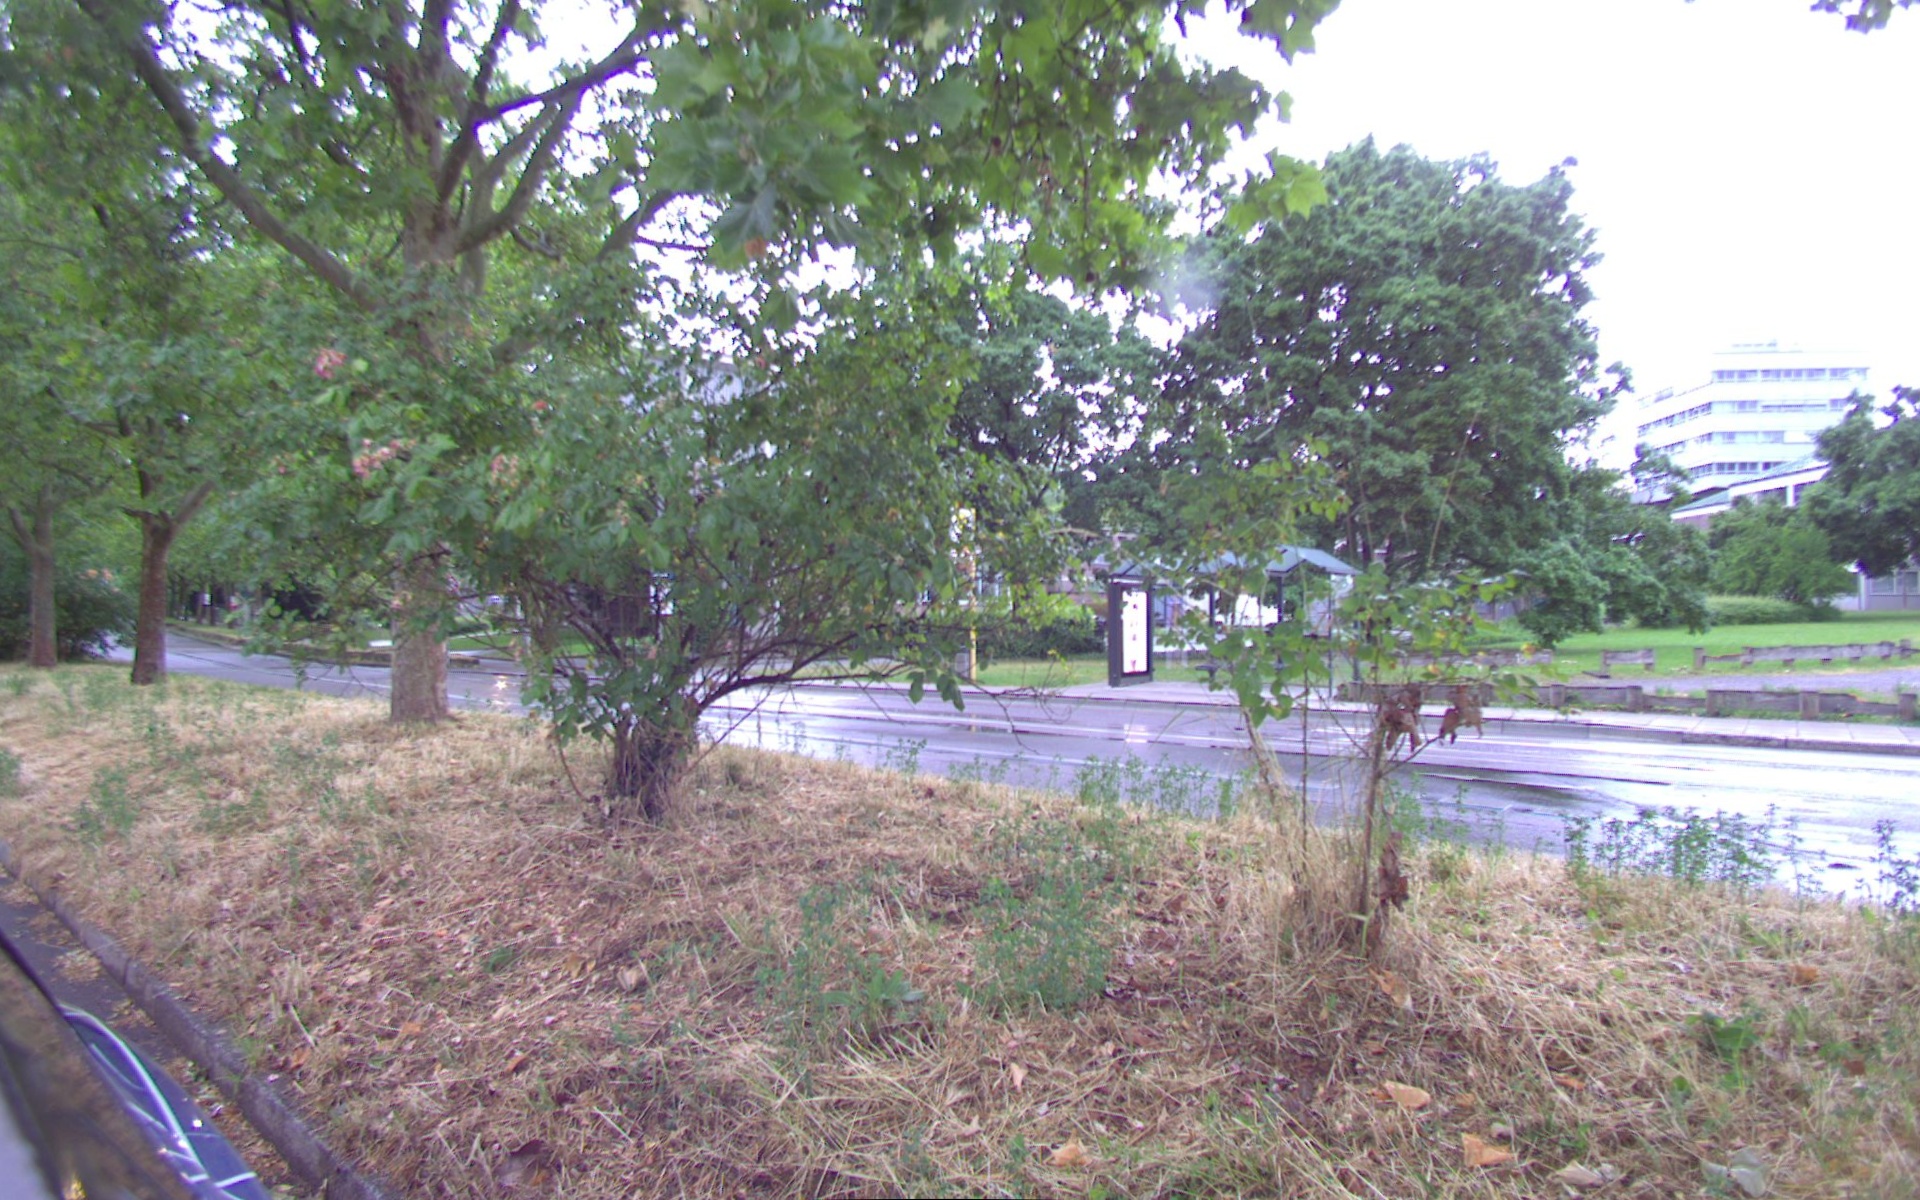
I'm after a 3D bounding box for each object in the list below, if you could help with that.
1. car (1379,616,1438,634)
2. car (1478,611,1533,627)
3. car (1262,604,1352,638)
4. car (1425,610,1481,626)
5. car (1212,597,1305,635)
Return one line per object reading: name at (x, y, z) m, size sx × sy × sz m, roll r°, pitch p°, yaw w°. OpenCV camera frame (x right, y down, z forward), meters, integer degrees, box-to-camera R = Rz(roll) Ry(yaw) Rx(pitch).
car at (32.237, 1.784, 72.762) m, size 1.566 × 1.151 × 3.564 m, roll -1°, pitch 1°, yaw -37°
car at (43.945, 1.540, 81.604) m, size 1.566 × 1.151 × 3.564 m, roll -1°, pitch 1°, yaw -37°
car at (22.338, 1.296, 65.346) m, size 2.251 × 2.037 × 5.091 m, roll -1°, pitch 1°, yaw -36°
car at (37.711, 1.361, 77.479) m, size 1.566 × 1.151 × 3.564 m, roll -1°, pitch 1°, yaw -37°
car at (18.494, 0.943, 62.906) m, size 2.080 × 2.229 × 5.483 m, roll -1°, pitch 1°, yaw -33°
